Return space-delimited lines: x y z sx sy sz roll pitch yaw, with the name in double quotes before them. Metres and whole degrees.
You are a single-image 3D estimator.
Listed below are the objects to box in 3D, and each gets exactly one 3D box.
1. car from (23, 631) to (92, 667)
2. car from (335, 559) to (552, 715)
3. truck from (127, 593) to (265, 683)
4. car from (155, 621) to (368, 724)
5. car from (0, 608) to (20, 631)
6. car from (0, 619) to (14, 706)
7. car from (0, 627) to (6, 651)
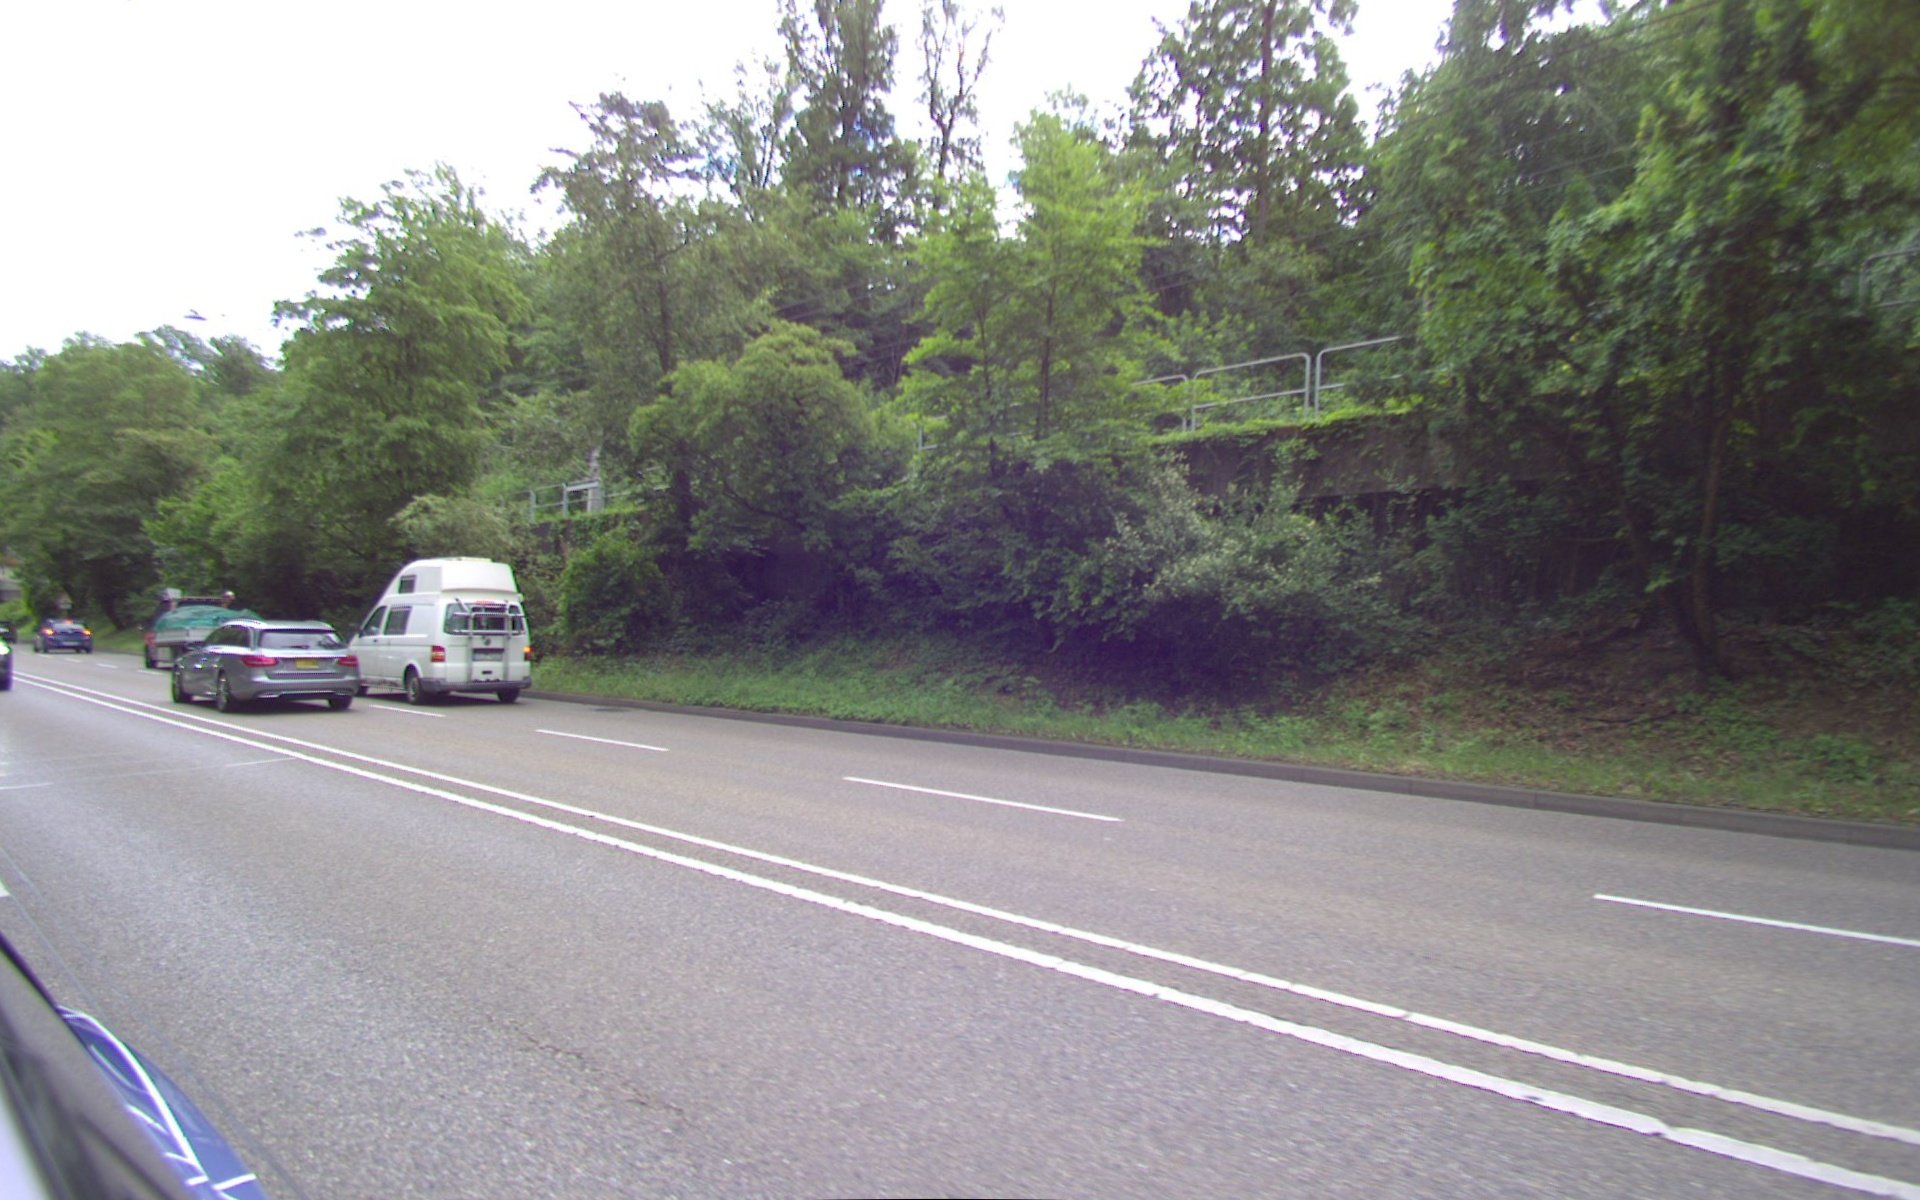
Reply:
"car" -40.037 2.142 44.864 3.996 1.497 1.653 -1 -2 40
"car" -9.791 0.673 19.002 4.912 2.575 1.867 -1 -3 41
"truck" -23.123 1.068 30.493 6.464 2.429 2.153 -1 0 42
"car" -11.728 1.118 16.875 4.463 1.477 1.820 -1 -3 41
"car" -76.529 1.539 80.801 4.133 1.786 1.641 -1 -3 41
"car" -20.615 1.194 20.317 4.189 1.675 1.847 -1 -3 40
"car" -62.088 2.442 64.271 4.431 1.522 1.714 -1 -3 41
